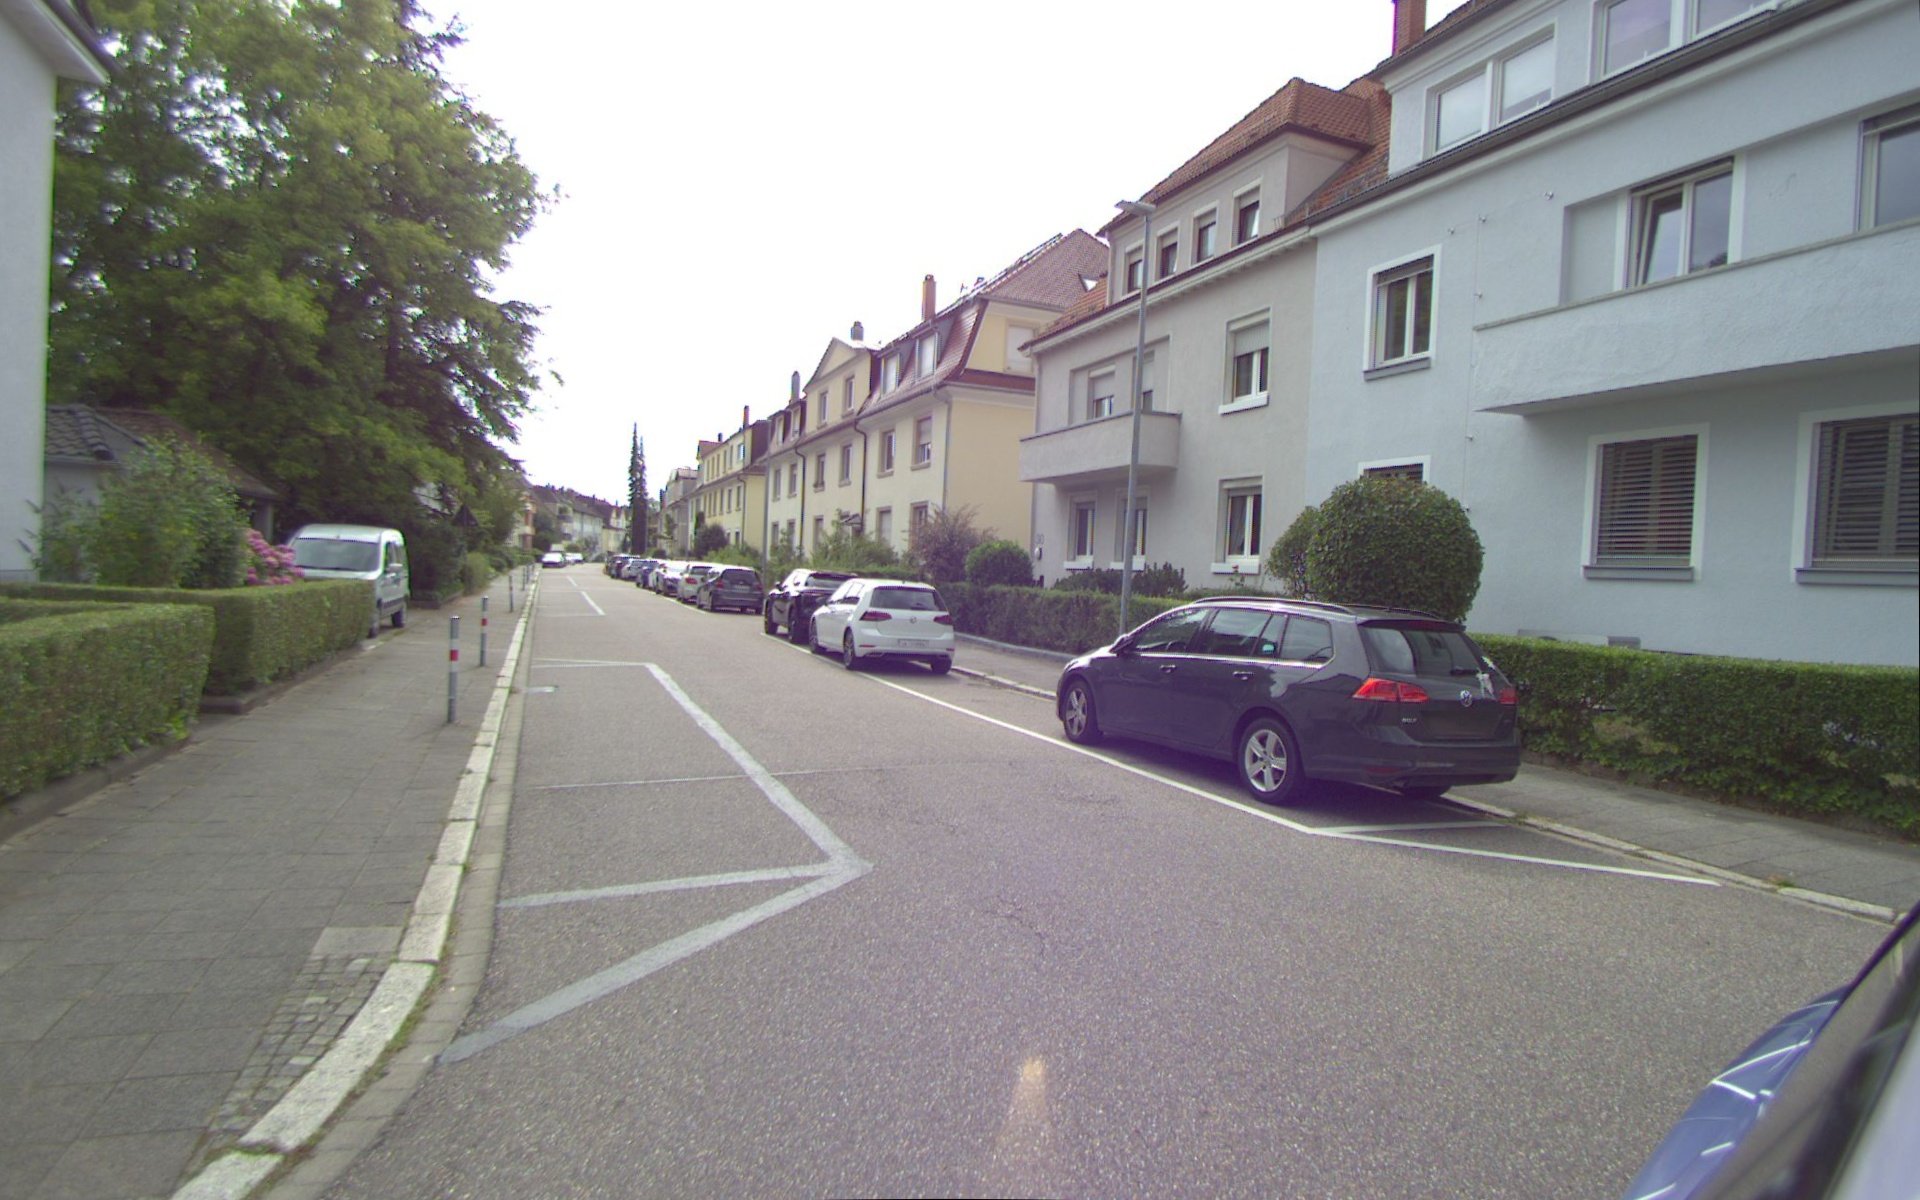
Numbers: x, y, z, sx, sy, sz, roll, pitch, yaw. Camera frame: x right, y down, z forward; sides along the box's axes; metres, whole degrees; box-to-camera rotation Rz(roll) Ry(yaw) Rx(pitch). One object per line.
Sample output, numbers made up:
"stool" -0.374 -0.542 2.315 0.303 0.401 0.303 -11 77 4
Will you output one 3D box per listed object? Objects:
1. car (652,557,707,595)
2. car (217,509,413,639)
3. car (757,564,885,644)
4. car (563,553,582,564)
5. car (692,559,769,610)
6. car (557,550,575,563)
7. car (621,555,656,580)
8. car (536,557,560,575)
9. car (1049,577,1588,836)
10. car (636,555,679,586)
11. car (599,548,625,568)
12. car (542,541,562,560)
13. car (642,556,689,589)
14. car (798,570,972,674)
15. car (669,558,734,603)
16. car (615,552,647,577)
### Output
"car" -12.041 -1.062 43.324 1.820 1.489 4.185 2 2 -21
"car" -10.584 -0.453 16.945 1.958 1.860 4.010 2 2 -21
"car" -3.139 0.023 22.090 1.820 1.489 4.185 2 2 -21
"car" -55.729 -6.025 145.611 1.958 1.555 4.010 1 2 -14
"car" -7.558 -0.545 33.007 1.820 1.489 4.185 2 2 -21
"car" -51.407 -5.672 132.204 1.958 1.660 4.010 1 2 -19
"car" -20.682 -2.116 65.055 1.820 1.489 4.185 2 2 -21
"car" -42.540 -3.515 104.521 1.958 1.660 4.010 2 2 -19
"car" 2.632 0.644 8.563 1.821 1.489 4.184 2 2 -26
"car" -16.002 -1.568 53.493 1.820 1.489 4.185 2 2 -21
"car" -30.149 -3.617 87.594 1.821 1.597 4.185 2 2 -22
"car" -46.906 -5.663 116.327 1.958 2.038 4.010 2 2 -20
"car" -14.385 -1.371 49.332 1.820 1.489 4.185 2 2 -21
"car" -1.444 0.293 17.541 1.820 1.489 4.185 2 2 -21
"car" -9.764 -0.775 38.001 1.820 1.489 4.185 2 2 -21
"car" -22.767 -2.490 69.992 1.820 1.597 4.185 2 2 -21
